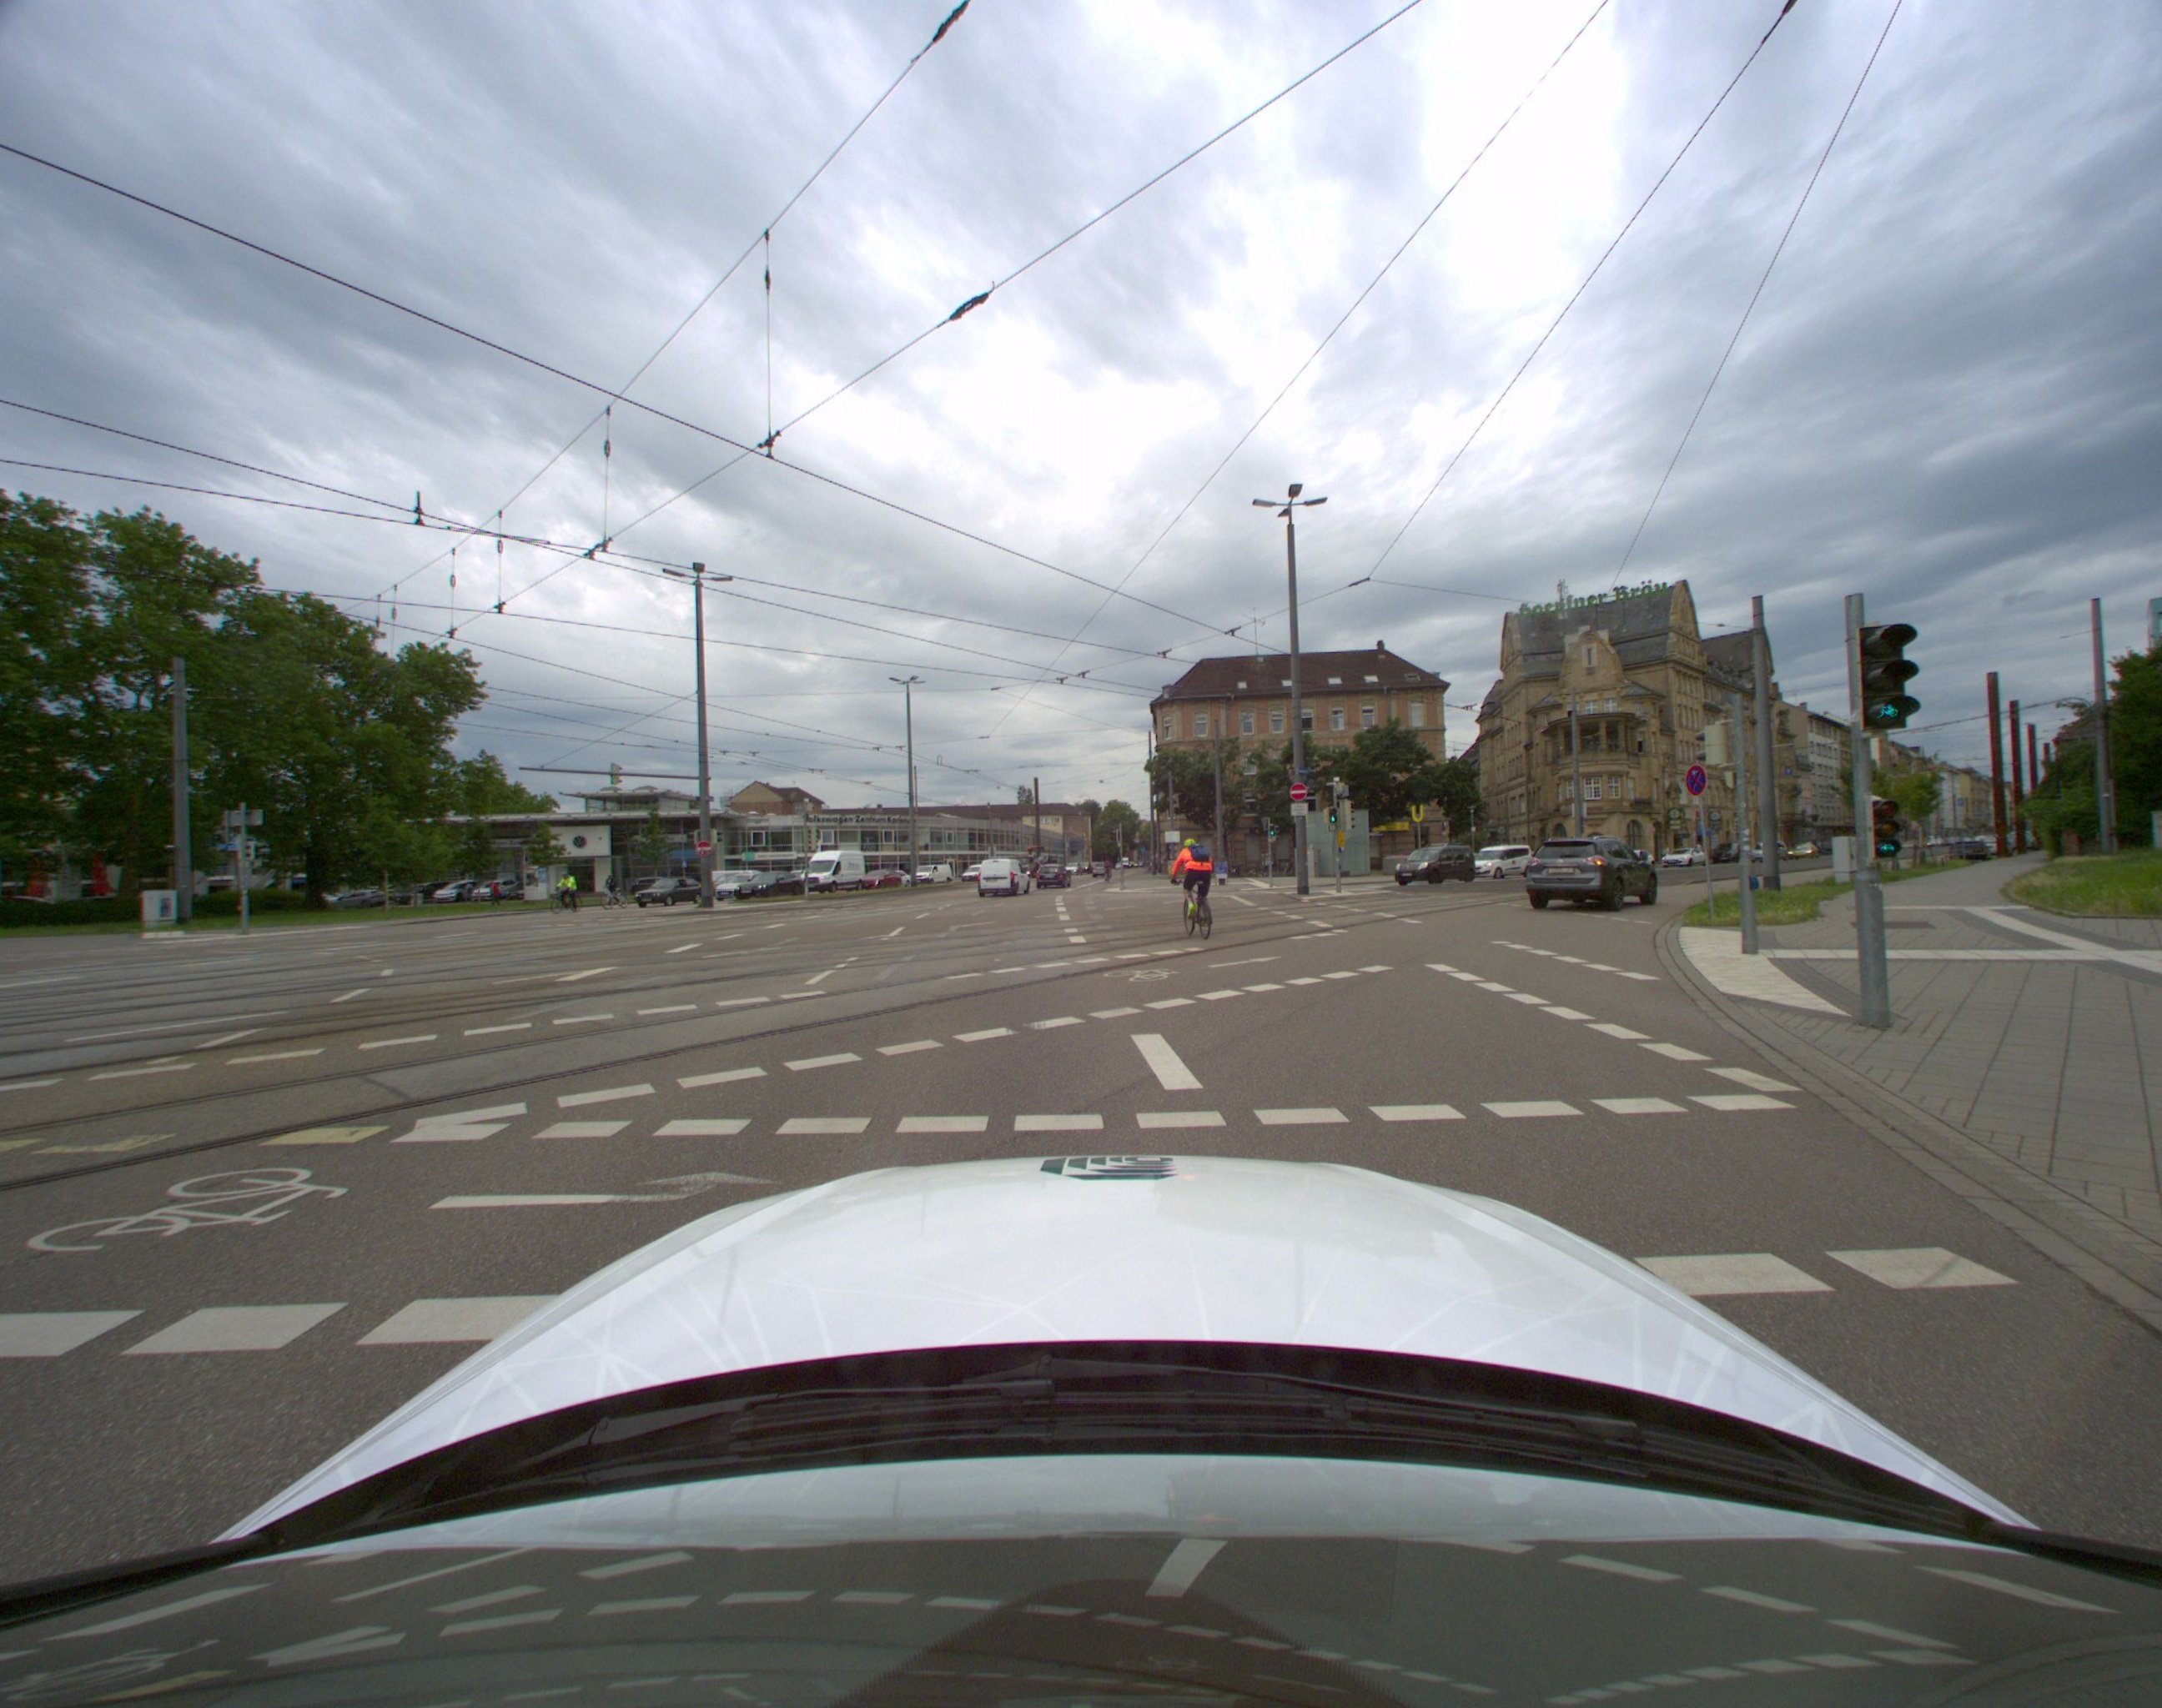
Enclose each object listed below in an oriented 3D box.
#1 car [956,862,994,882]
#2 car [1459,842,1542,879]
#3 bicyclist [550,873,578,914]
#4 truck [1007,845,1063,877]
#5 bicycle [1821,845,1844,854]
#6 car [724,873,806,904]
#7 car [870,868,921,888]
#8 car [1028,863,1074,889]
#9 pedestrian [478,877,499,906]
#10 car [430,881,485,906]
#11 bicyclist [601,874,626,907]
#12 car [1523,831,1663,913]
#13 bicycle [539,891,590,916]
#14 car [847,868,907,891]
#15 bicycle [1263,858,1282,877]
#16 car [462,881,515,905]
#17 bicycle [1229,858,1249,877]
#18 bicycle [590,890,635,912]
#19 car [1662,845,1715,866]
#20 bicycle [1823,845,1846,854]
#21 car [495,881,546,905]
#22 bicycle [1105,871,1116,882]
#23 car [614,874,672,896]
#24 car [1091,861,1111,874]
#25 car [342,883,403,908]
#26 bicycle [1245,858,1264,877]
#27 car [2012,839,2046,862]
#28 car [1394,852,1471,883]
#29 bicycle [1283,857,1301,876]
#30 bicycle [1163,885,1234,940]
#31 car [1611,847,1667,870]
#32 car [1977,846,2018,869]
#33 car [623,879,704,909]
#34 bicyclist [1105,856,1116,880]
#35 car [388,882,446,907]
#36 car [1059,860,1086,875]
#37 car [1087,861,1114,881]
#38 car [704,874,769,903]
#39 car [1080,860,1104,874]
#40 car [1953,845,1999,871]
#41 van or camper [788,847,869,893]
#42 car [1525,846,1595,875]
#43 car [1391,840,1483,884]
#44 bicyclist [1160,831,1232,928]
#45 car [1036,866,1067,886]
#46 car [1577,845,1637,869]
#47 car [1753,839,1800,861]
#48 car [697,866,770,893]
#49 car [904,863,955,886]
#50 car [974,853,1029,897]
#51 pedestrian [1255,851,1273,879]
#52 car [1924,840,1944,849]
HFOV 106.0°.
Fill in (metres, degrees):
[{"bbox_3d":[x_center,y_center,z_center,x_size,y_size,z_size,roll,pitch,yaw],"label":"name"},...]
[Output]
[{"bbox_3d":[-10.652,1.786,82.412,1.977,1.839,4.544,-2,-1,19],"label":"car"},{"bbox_3d":[23.645,0.343,45.849,5.120,1.916,1.849,-1,-1,-33],"label":"car"},{"bbox_3d":[-23.186,1.774,36.525,0.623,1.803,0.800,-2,-1,11],"label":"bicyclist"},{"bbox_3d":[-5.296,0.870,96.067,2.769,3.549,9.272,-1,-1,22],"label":"truck"},{"bbox_3d":[88.639,-0.475,96.050,0.466,1.001,1.904,-1,-1,-45],"label":"bicycle"},{"bbox_3d":[-16.463,1.747,42.686,1.983,1.420,4.671,-2,-1,7],"label":"car"},{"bbox_3d":[-15.139,1.923,66.705,1.978,1.420,4.771,-2,-1,16],"label":"car"},{"bbox_3d":[-1.802,1.333,49.992,1.982,1.420,4.010,-2,-1,9],"label":"car"},{"bbox_3d":[-38.871,2.446,53.470,0.701,1.900,0.866,-1,-1,20],"label":"pedestrian"},{"bbox_3d":[-55.317,3.486,72.359,1.990,2.014,3.993,-1,-1,-5],"label":"car"},{"bbox_3d":[-22.689,1.755,39.510,0.562,1.508,0.859,-2,0,11],"label":"bicyclist"},{"bbox_3d":[12.289,0.365,19.460,3.944,1.756,1.734,-1,0,-41],"label":"car"},{"bbox_3d":[-23.187,2.209,36.617,0.515,0.930,2.230,-2,0,11],"label":"bicycle"},{"bbox_3d":[-14.213,1.741,56.970,1.979,1.420,4.819,-2,-1,14],"label":"car"},{"bbox_3d":[14.205,0.978,60.395,0.949,1.354,3.136,-1,-1,20],"label":"bicycle"},{"bbox_3d":[-52.820,3.454,72.706,1.990,2.014,3.993,-1,-1,-5],"label":"car"},{"bbox_3d":[11.817,1.022,60.964,0.949,1.354,3.136,-1,-1,20],"label":"bicycle"},{"bbox_3d":[-22.675,2.259,39.473,0.515,0.926,2.230,-2,0,11],"label":"bicycle"},{"bbox_3d":[45.564,0.112,61.045,4.276,1.380,1.912,-1,-1,-35],"label":"car"},{"bbox_3d":[89.245,-0.499,96.480,0.466,1.001,1.948,-1,-1,-45],"label":"bicycle"},{"bbox_3d":[-49.976,3.416,72.764,1.990,2.014,3.993,-1,-1,-5],"label":"car"},{"bbox_3d":[2.111,1.603,58.331,0.618,0.793,1.589,-2,-1,-4],"label":"bicycle"},{"bbox_3d":[-31.467,2.188,58.637,1.625,1.420,3.748,-2,-1,10],"label":"car"},{"bbox_3d":[2.964,1.963,120.745,1.979,1.839,4.540,-2,-1,14],"label":"car"},{"bbox_3d":[-61.929,3.586,71.289,1.990,2.014,3.993,-1,-1,-5],"label":"car"},{"bbox_3d":[12.937,1.001,60.688,0.949,1.354,3.136,-1,-1,20],"label":"bicycle"},{"bbox_3d":[94.664,-0.391,81.325,5.008,2.115,1.836,-1,-4,-38],"label":"car"},{"bbox_3d":[18.047,0.684,41.762,4.016,1.442,1.676,-1,-1,-34],"label":"car"},{"bbox_3d":[15.674,0.958,60.427,0.949,1.354,3.136,-1,-1,20],"label":"bicycle"},{"bbox_3d":[2.035,0.994,14.438,0.556,0.848,2.065,-2,-1,-12],"label":"bicycle"},{"bbox_3d":[38.112,0.284,55.568,4.382,1.380,1.732,-1,-4,-37],"label":"car"},{"bbox_3d":[69.619,0.287,61.838,3.950,1.574,1.740,-1,-3,-39],"label":"car"},{"bbox_3d":[-20.347,1.915,39.849,1.677,1.247,3.745,-2,-1,7],"label":"car"},{"bbox_3d":[2.101,0.978,58.324,0.686,1.708,0.797,-2,-1,-5],"label":"bicyclist"},{"bbox_3d":[-58.345,3.538,71.652,1.990,2.014,3.993,-1,-1,-5],"label":"car"},{"bbox_3d":[-1.076,1.720,106.459,1.977,1.839,4.544,-2,-1,19],"label":"car"},{"bbox_3d":[2.038,1.713,82.985,1.980,2.014,4.013,-1,-1,12],"label":"car"},{"bbox_3d":[-19.027,1.883,45.132,1.626,1.420,3.745,-2,-1,7],"label":"car"},{"bbox_3d":[1.525,1.790,114.558,1.977,1.839,4.544,-2,-1,19],"label":"car"},{"bbox_3d":[56.533,0.244,51.420,3.950,1.434,1.624,-1,-3,-39],"label":"car"},{"bbox_3d":[-15.380,0.962,50.033,2.402,2.611,6.064,-1,-1,7],"label":"van or camper"},{"bbox_3d":[28.988,0.383,49.238,4.318,1.535,1.849,-1,-3,-33],"label":"car"},{"bbox_3d":[16.080,0.345,36.722,4.404,1.900,1.676,-1,-1,-34],"label":"car"},{"bbox_3d":[2.019,0.437,14.489,0.827,1.621,1.316,-2,-1,-12],"label":"bicyclist"},{"bbox_3d":[-2.237,1.678,62.599,1.843,1.508,4.007,-1,-1,6],"label":"car"},{"bbox_3d":[33.892,0.177,52.456,3.911,1.399,1.849,-1,-3,-35],"label":"car"},{"bbox_3d":[57.205,-0.341,66.960,4.931,1.706,1.848,-1,-2,-37],"label":"car"},{"bbox_3d":[-27.087,1.949,63.534,4.740,2.014,2.125,-1,-1,7],"label":"car"},{"bbox_3d":[-13.442,1.762,72.660,2.140,1.856,5.471,-2,-1,16],"label":"car"},{"bbox_3d":[-3.782,0.986,39.454,1.903,1.940,4.136,-2,-1,5],"label":"car"},{"bbox_3d":[11.664,0.704,51.913,0.910,1.728,0.600,-2,-1,-12],"label":"pedestrian"},{"bbox_3d":[139.996,-1.588,133.611,4.636,1.449,1.745,-1,-1,-38],"label":"car"}]
